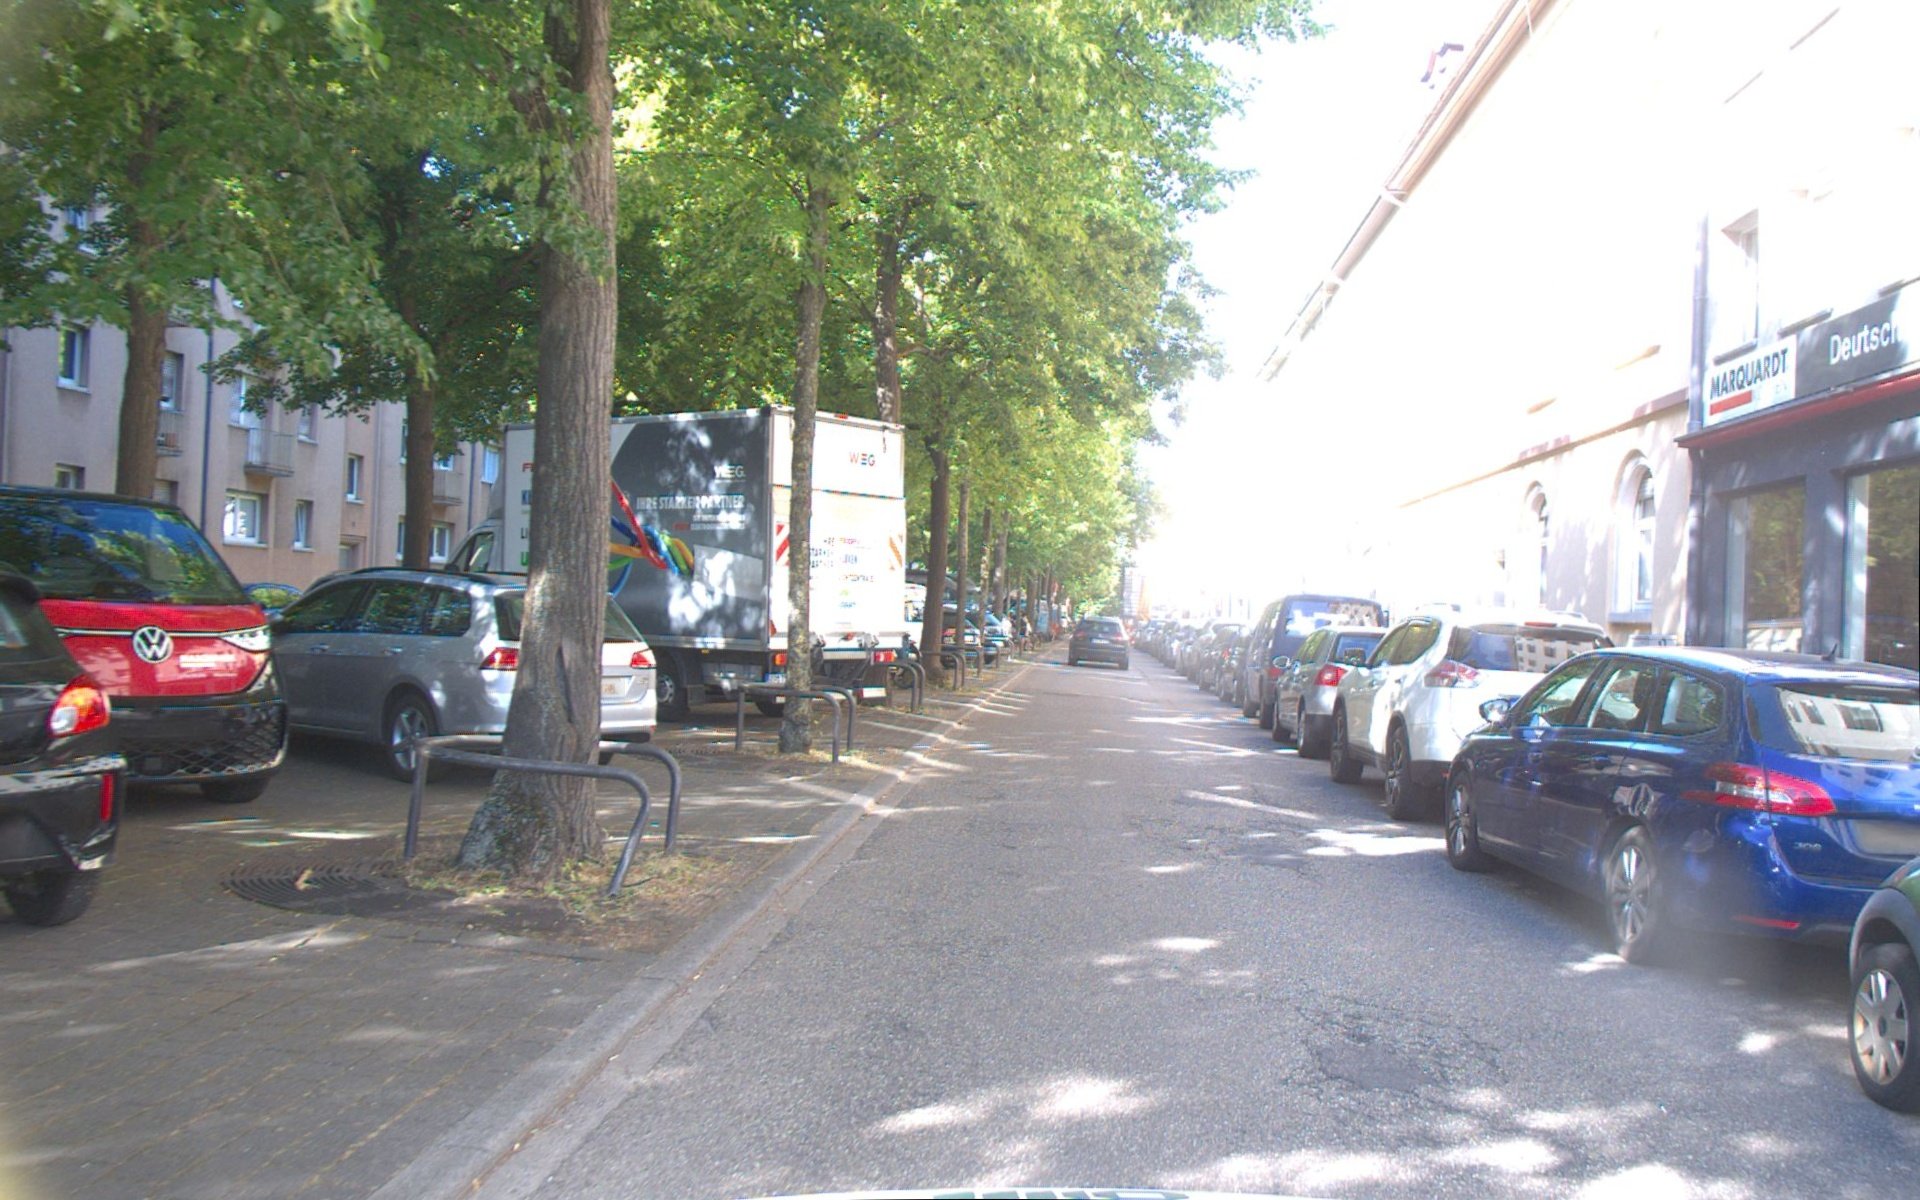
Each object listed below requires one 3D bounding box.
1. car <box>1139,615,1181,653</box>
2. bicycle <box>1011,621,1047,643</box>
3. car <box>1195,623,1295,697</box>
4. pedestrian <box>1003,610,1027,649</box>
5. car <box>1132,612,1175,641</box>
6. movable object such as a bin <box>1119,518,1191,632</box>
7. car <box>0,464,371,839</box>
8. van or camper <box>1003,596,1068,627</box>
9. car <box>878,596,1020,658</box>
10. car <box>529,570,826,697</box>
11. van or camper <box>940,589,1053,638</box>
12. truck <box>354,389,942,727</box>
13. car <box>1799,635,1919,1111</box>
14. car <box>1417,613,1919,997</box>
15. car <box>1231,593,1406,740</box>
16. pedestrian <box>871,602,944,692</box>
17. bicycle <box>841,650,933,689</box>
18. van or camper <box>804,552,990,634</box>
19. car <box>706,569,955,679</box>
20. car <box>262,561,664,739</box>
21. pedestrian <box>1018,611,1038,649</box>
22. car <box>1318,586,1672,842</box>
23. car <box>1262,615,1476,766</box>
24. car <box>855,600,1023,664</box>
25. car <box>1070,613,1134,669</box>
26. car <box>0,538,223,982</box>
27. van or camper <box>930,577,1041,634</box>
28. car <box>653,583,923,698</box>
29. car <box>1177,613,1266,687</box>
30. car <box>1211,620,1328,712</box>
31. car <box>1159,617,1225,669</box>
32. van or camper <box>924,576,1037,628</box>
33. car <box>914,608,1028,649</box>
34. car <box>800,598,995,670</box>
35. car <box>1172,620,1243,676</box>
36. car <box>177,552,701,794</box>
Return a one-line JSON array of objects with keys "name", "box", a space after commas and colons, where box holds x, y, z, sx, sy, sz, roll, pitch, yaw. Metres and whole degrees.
[{"name": "car", "box": [9.586, 1.595, 79.633, 1.778, 1.703, 4.676, 2, 0, 5]}, {"name": "bicycle", "box": [3.401, 1.580, 81.454, 1.698, 1.023, 0.507, 2, -1, -26]}, {"name": "car", "box": [6.110, 1.262, 35.815, 1.517, 1.418, 3.861, 2, 0, 1]}, {"name": "pedestrian", "box": [2.130, 1.142, 64.330, 0.696, 1.481, 0.595, 2, -1, 28]}, {"name": "car", "box": [10.350, 1.391, 88.671, 1.952, 1.434, 4.502, 3, 0, 3]}, {"name": "movable object such as a bin", "box": [12.093, -1.574, 102.600, 3.422, 6.877, 2.358, 2, -1, 37]}, {"name": "car", "box": [-5.880, 0.221, 10.538, 4.417, 1.906, 1.927, 2, 0, 39]}, {"name": "van or camper", "box": [6.579, 1.004, 144.022, 5.245, 2.518, 2.284, 2, 0, 37]}, {"name": "car", "box": [-0.357, 0.826, 50.998, 4.061, 1.708, 1.754, 2, 0, 34]}, {"name": "car", "box": [-3.976, 0.438, 23.092, 3.921, 1.529, 1.841, 3, 0, 36]}, {"name": "van or camper", "box": [1.880, 0.689, 85.279, 5.393, 2.315, 2.217, 2, 0, 29]}, {"name": "truck", "box": [-3.875, -0.472, 19.517, 7.179, 3.351, 2.537, 2, 0, 36]}, {"name": "car", "box": [3.749, 0.894, 4.248, 1.563, 1.489, 3.675, 2, 0, 5]}, {"name": "car", "box": [3.963, 0.862, 8.871, 1.765, 1.489, 4.440, 2, 0, 0]}, {"name": "car", "box": [5.295, 0.920, 25.019, 1.907, 1.934, 4.848, 2, 0, 5]}, {"name": "pedestrian", "box": [-0.843, 0.757, 26.895, 0.738, 1.421, 0.925, 2, -1, 36]}, {"name": "bicycle", "box": [-1.214, 1.140, 27.311, 1.582, 0.568, 0.408, 2, 0, 36]}, {"name": "van or camper", "box": [-2.508, -0.304, 64.198, 7.095, 2.981, 2.308, 2, 0, 32]}, {"name": "car", "box": [-2.564, 0.443, 32.533, 4.425, 1.897, 2.077, 3, 0, 30]}, {"name": "car", "box": [-5.155, 0.444, 16.912, 4.261, 1.533, 1.805, 2, 0, 39]}, {"name": "pedestrian", "box": [2.671, 1.185, 64.853, 0.603, 1.481, 0.519, 2, -1, 28]}, {"name": "car", "box": [4.360, 0.833, 14.234, 1.725, 1.784, 4.511, 2, 0, 3]}, {"name": "car", "box": [4.769, 0.988, 19.846, 1.725, 1.526, 4.240, 2, 0, 4]}, {"name": "car", "box": [-0.593, 0.851, 44.511, 4.337, 1.487, 1.709, 2, -1, 37]}, {"name": "car", "box": [4.172, 1.193, 49.074, 1.759, 1.530, 3.587, 2, 0, 3]}, {"name": "car", "box": [-4.858, 0.484, 6.572, 3.744, 1.507, 1.756, 2, 0, 33]}, {"name": "van or camper", "box": [1.549, 0.334, 102.728, 6.539, 3.297, 2.488, 2, 0, 33]}, {"name": "car", "box": [-2.715, 0.605, 25.702, 4.027, 1.532, 1.726, 3, 0, 36]}, {"name": "car", "box": [6.612, 1.223, 42.213, 1.687, 1.715, 4.159, 2, 0, 2]}, {"name": "car", "box": [5.695, 1.171, 30.795, 1.588, 1.524, 3.596, 2, 0, 2]}, {"name": "car", "box": [7.525, 1.367, 53.945, 1.686, 1.555, 4.159, 2, 0, 2]}, {"name": "van or camper", "box": [1.085, 0.094, 89.613, 5.766, 2.683, 2.248, 2, 0, 34]}, {"name": "car", "box": [0.428, 1.120, 65.765, 4.237, 1.449, 1.671, 2, 0, 32]}, {"name": "car", "box": [-1.509, 0.776, 38.813, 4.401, 1.481, 1.780, 2, 0, 37]}, {"name": "car", "box": [7.149, 1.368, 48.126, 1.686, 1.457, 4.160, 2, 0, 4]}, {"name": "car", "box": [-4.159, 0.464, 12.896, 4.261, 1.533, 1.805, 2, 0, 39]}]
